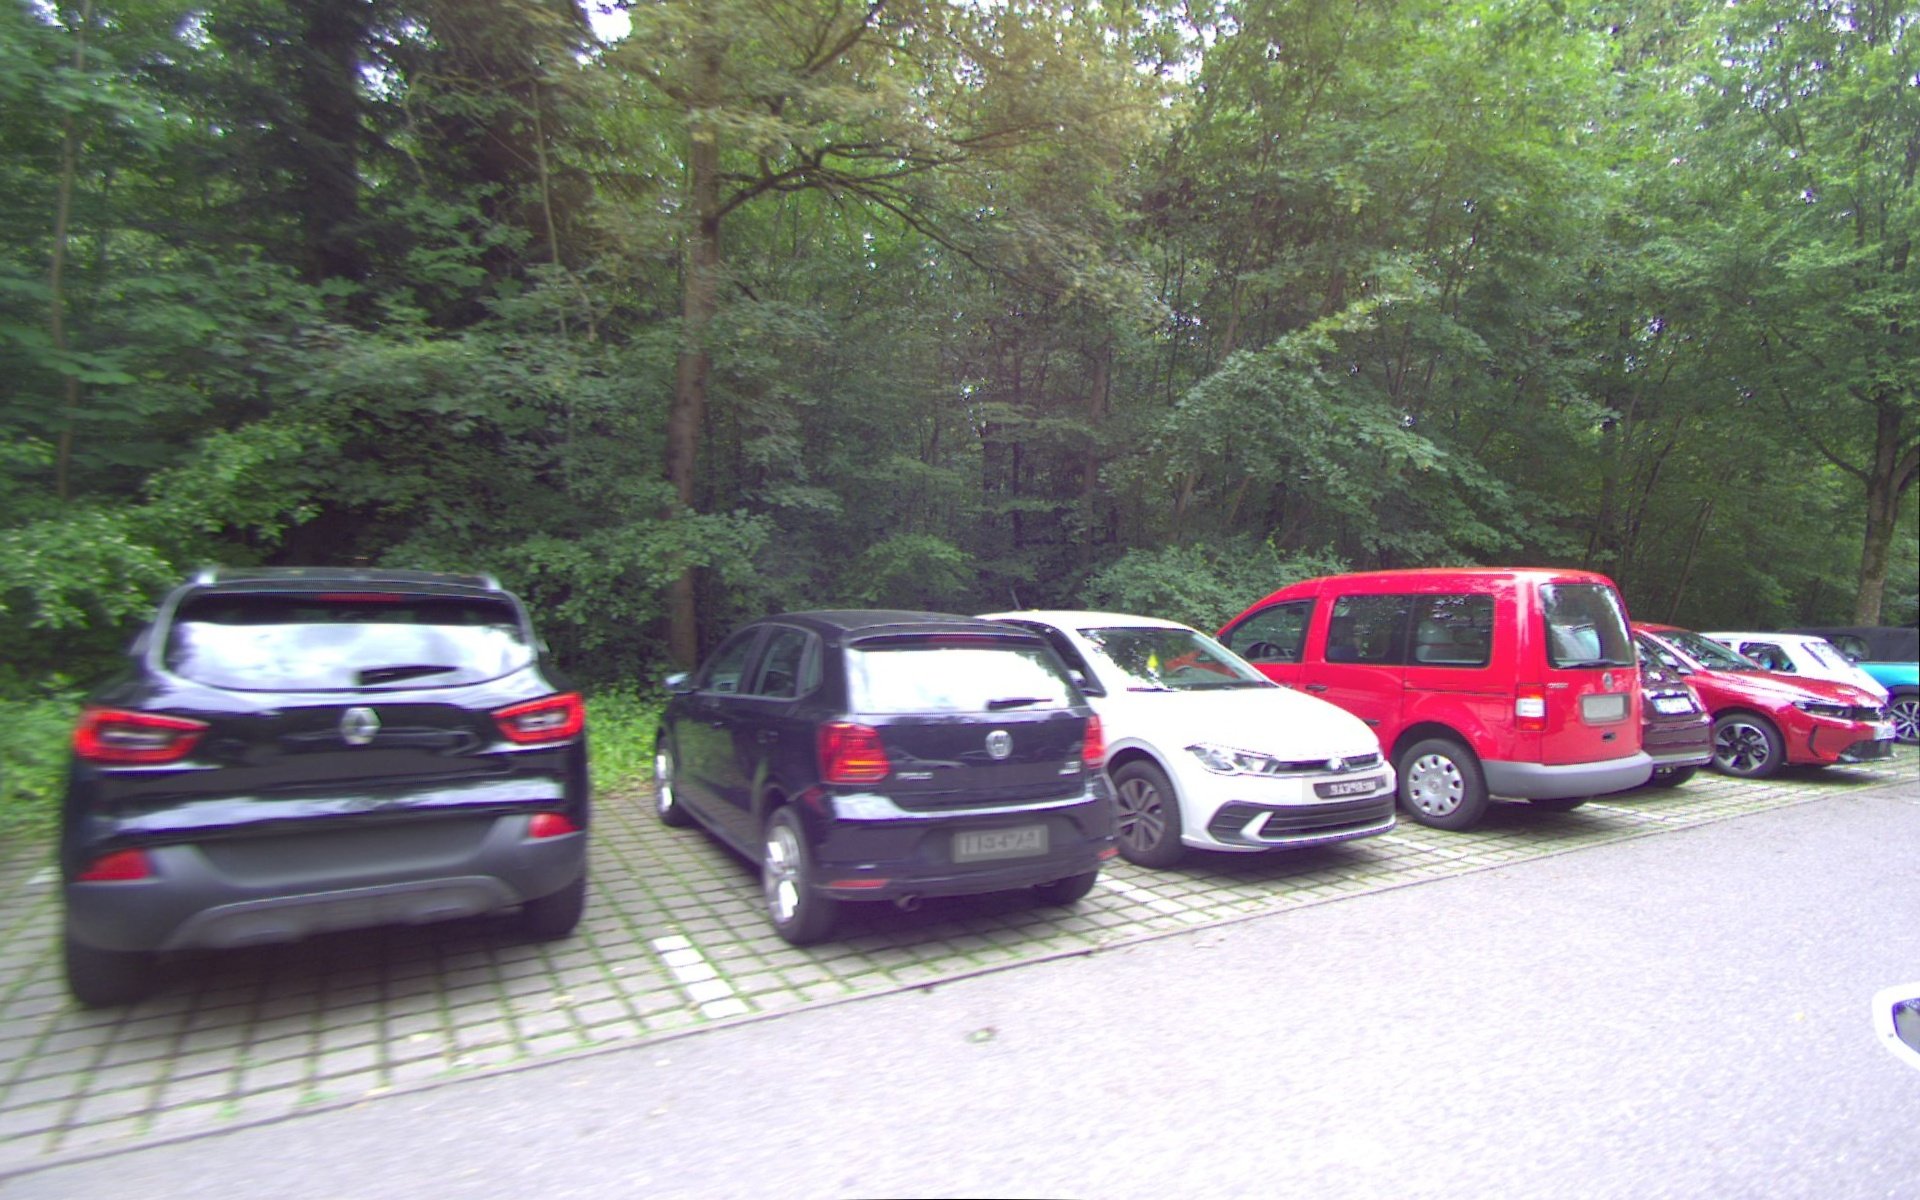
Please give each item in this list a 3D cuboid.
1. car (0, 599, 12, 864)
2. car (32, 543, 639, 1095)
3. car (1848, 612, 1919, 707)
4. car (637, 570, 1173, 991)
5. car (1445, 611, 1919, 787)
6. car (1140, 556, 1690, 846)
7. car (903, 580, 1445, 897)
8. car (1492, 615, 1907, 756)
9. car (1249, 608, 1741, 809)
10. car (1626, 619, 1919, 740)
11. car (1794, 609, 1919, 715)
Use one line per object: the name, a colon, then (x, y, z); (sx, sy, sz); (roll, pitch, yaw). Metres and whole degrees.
car: (-5.120, 0.697, 3.398); (1.719, 1.441, 3.972); (1, -1, -27)
car: (-2.967, 0.658, 5.105); (1.721, 1.618, 3.967); (1, -1, -30)
car: (18.243, 1.064, 17.391); (1.793, 1.684, 3.969); (1, -1, -29)
car: (-0.689, 0.713, 6.043); (1.720, 1.618, 3.971); (1, -1, -28)
car: (7.703, 0.908, 11.077); (1.750, 1.536, 3.968); (1, -1, -30)
car: (3.528, 0.658, 8.543); (1.797, 1.839, 3.967); (1, -1, -30)
car: (1.193, 0.726, 7.309); (1.720, 1.618, 3.971); (1, -1, -28)
car: (9.281, 0.963, 12.961); (1.750, 1.467, 3.968); (1, -1, -30)
car: (4.986, 0.864, 9.936); (1.796, 1.536, 3.968); (1, -1, -30)
car: (11.918, 1.018, 14.118); (1.674, 1.467, 3.972); (1, -1, -27)
car: (16.162, 0.994, 16.119); (1.677, 1.684, 3.966); (1, -1, -31)
